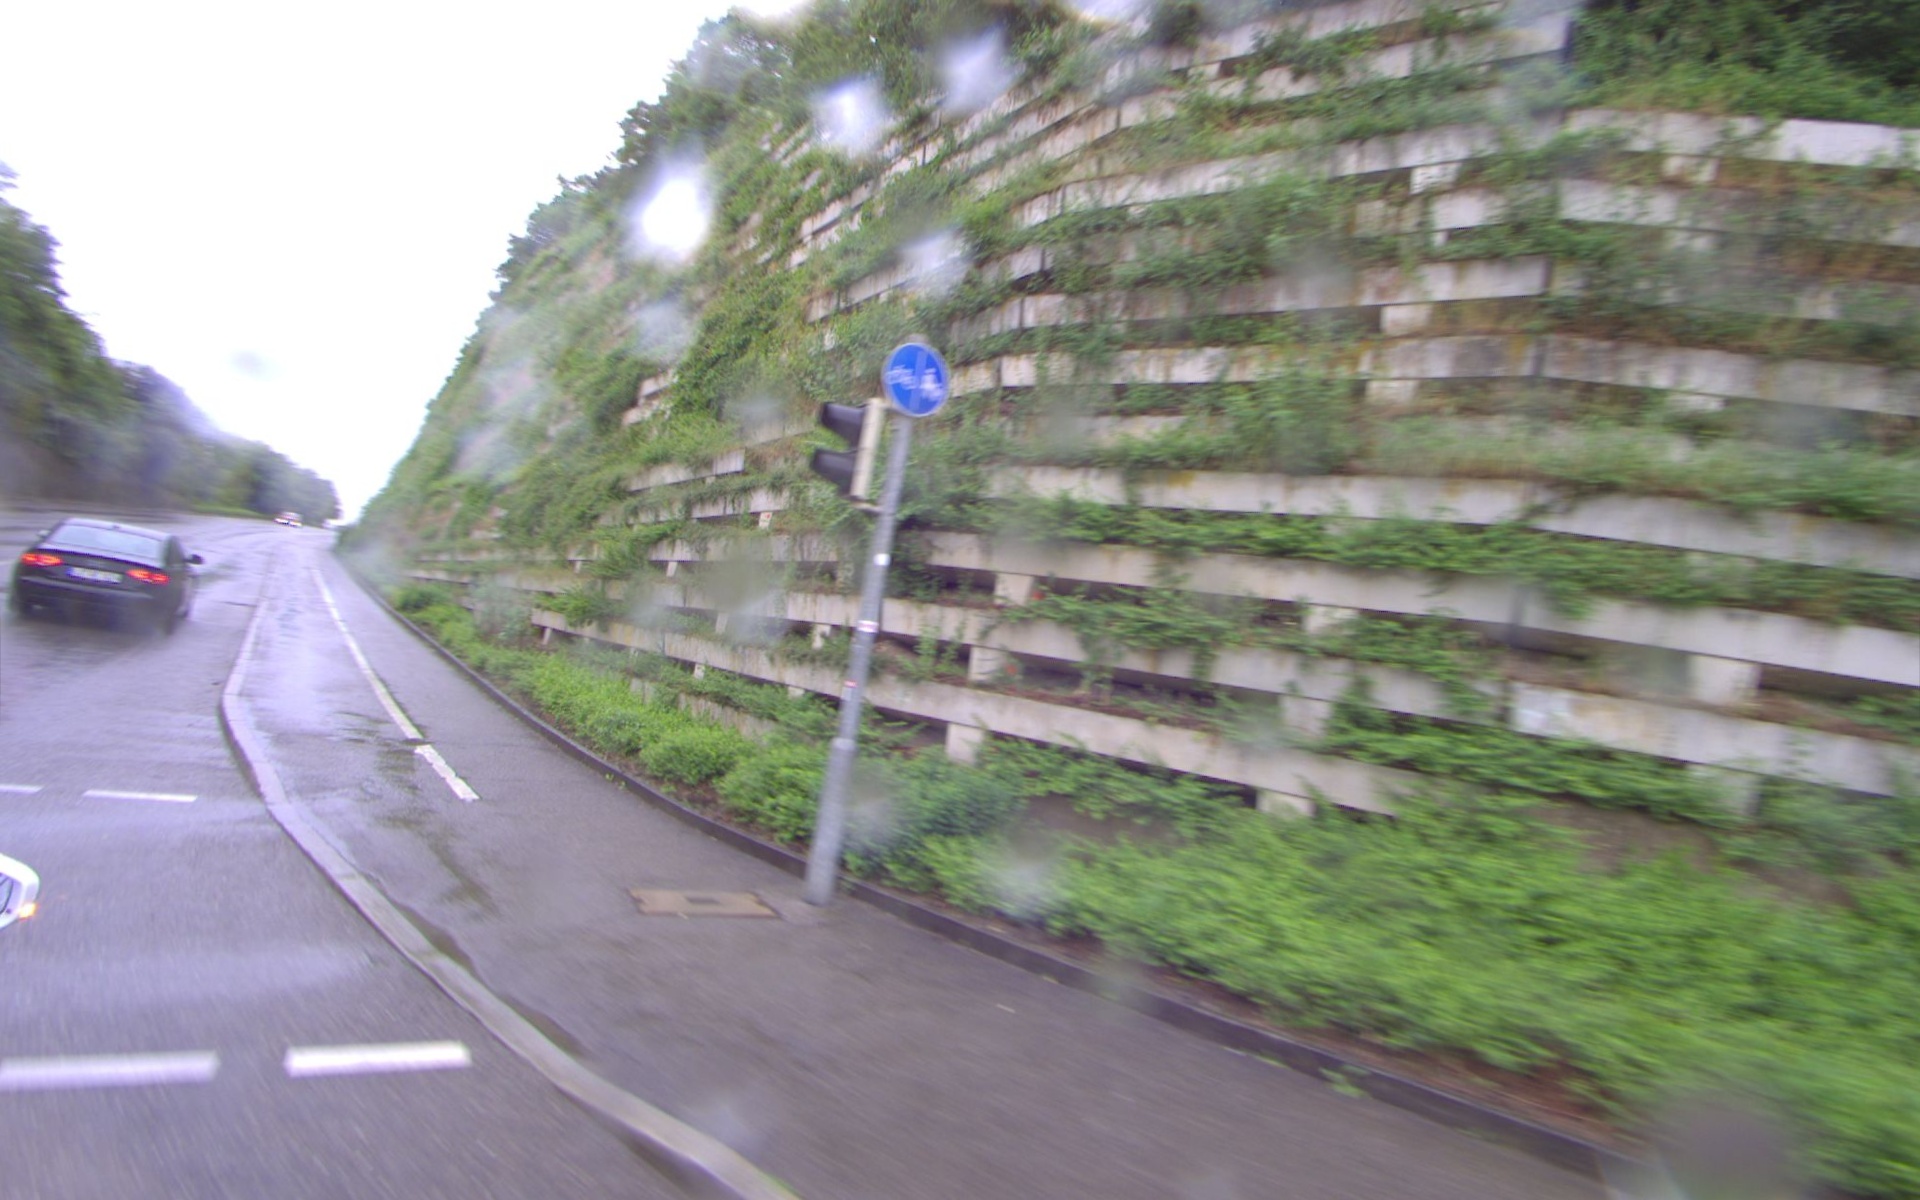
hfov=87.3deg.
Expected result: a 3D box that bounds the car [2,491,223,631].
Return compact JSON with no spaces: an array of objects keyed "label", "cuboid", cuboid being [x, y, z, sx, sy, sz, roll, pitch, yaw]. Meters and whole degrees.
[{"label":"car","cuboid":[-12.179,-0.584,14.756,1.883,1.509,4.169,10,-2,-34]}]

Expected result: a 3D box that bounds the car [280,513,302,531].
[{"label":"car","cuboid":[-77.437,-8.993,116.444,1.724,1.634,3.966,13,-3,-32]}]
